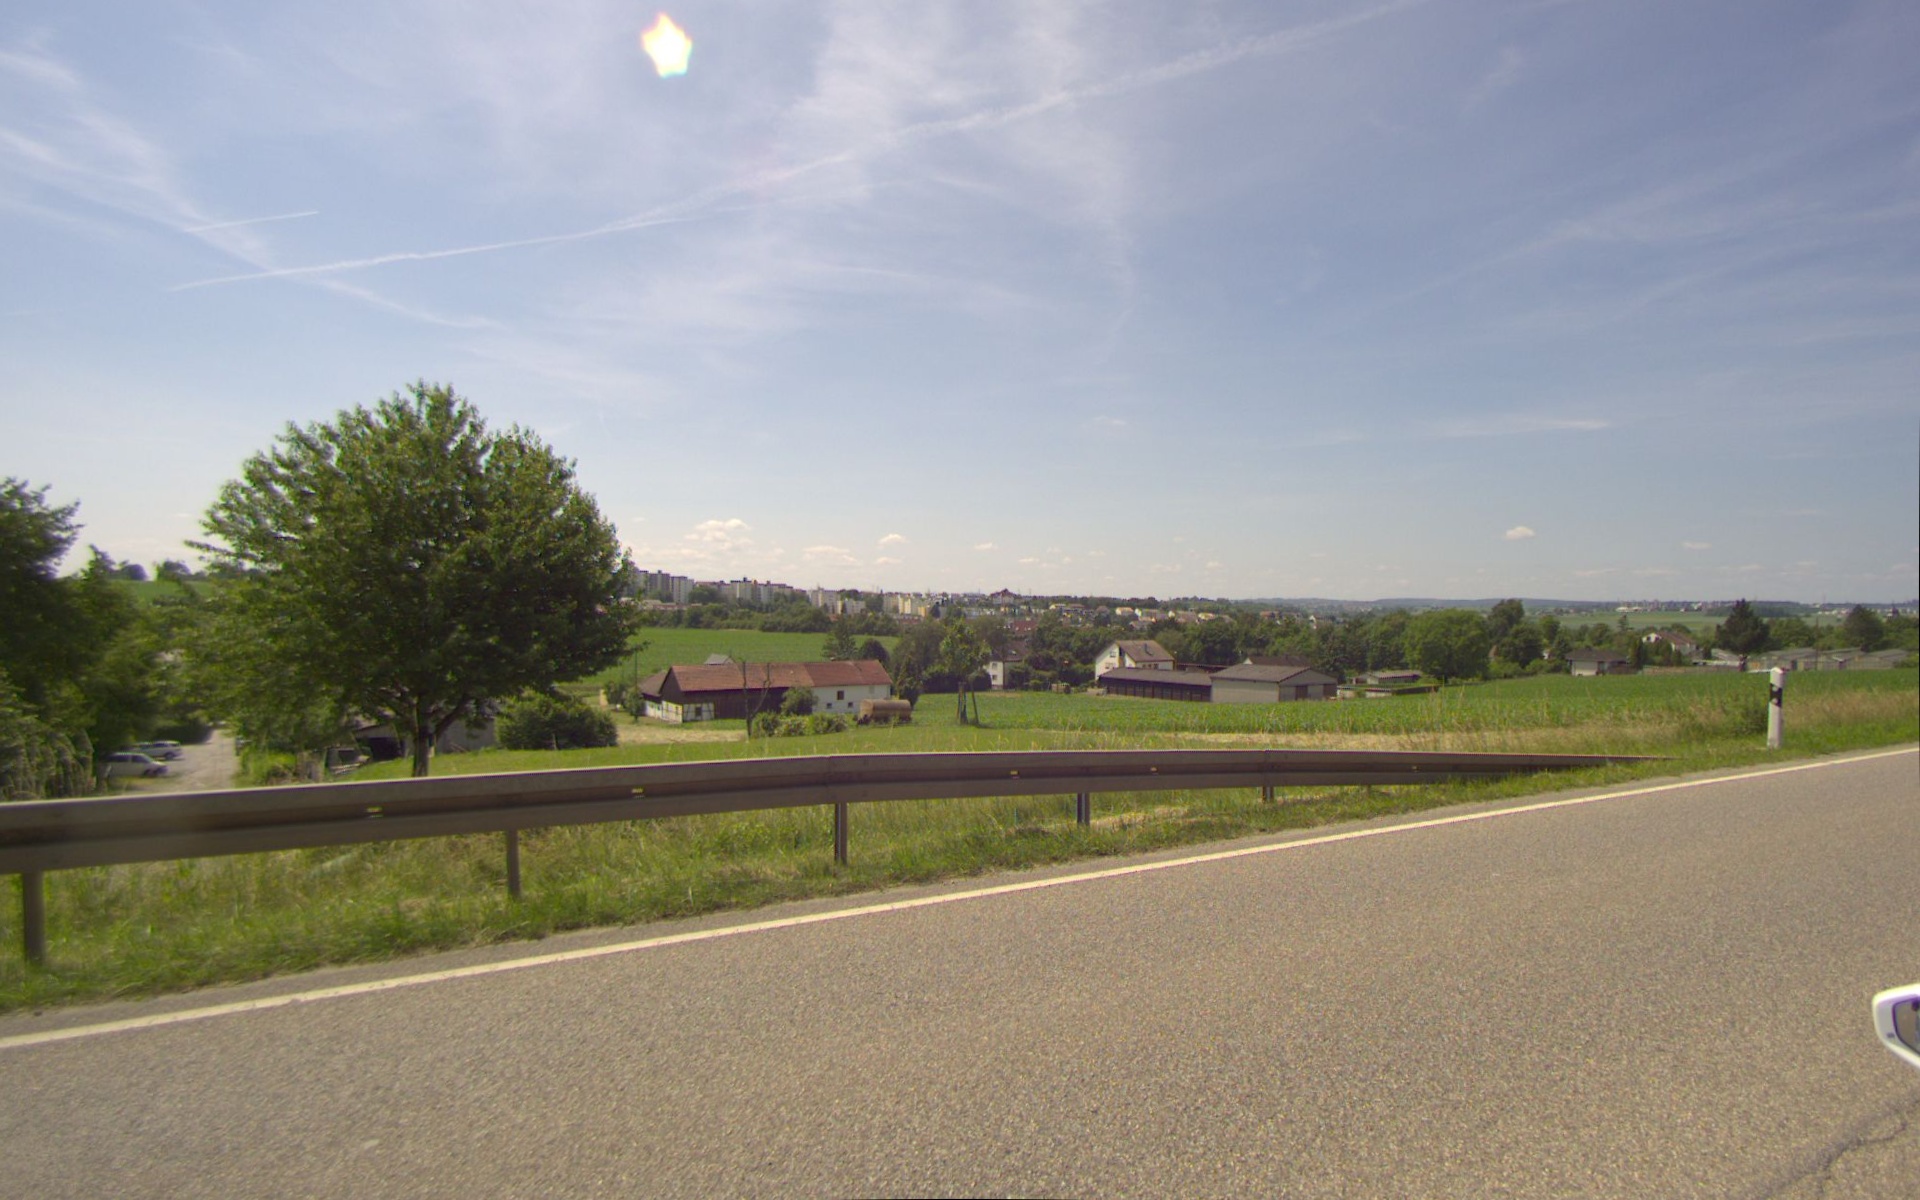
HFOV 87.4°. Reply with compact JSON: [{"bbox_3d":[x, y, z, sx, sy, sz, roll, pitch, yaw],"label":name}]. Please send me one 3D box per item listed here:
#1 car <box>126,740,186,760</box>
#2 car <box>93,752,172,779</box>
[{"bbox_3d":[-81.582,15.186,101.952,4.448,1.706,1.985,1,-6,-32],"label":"car"},{"bbox_3d":[-64.000,12.773,77.785,4.447,1.706,1.985,1,-6,-31],"label":"car"}]
